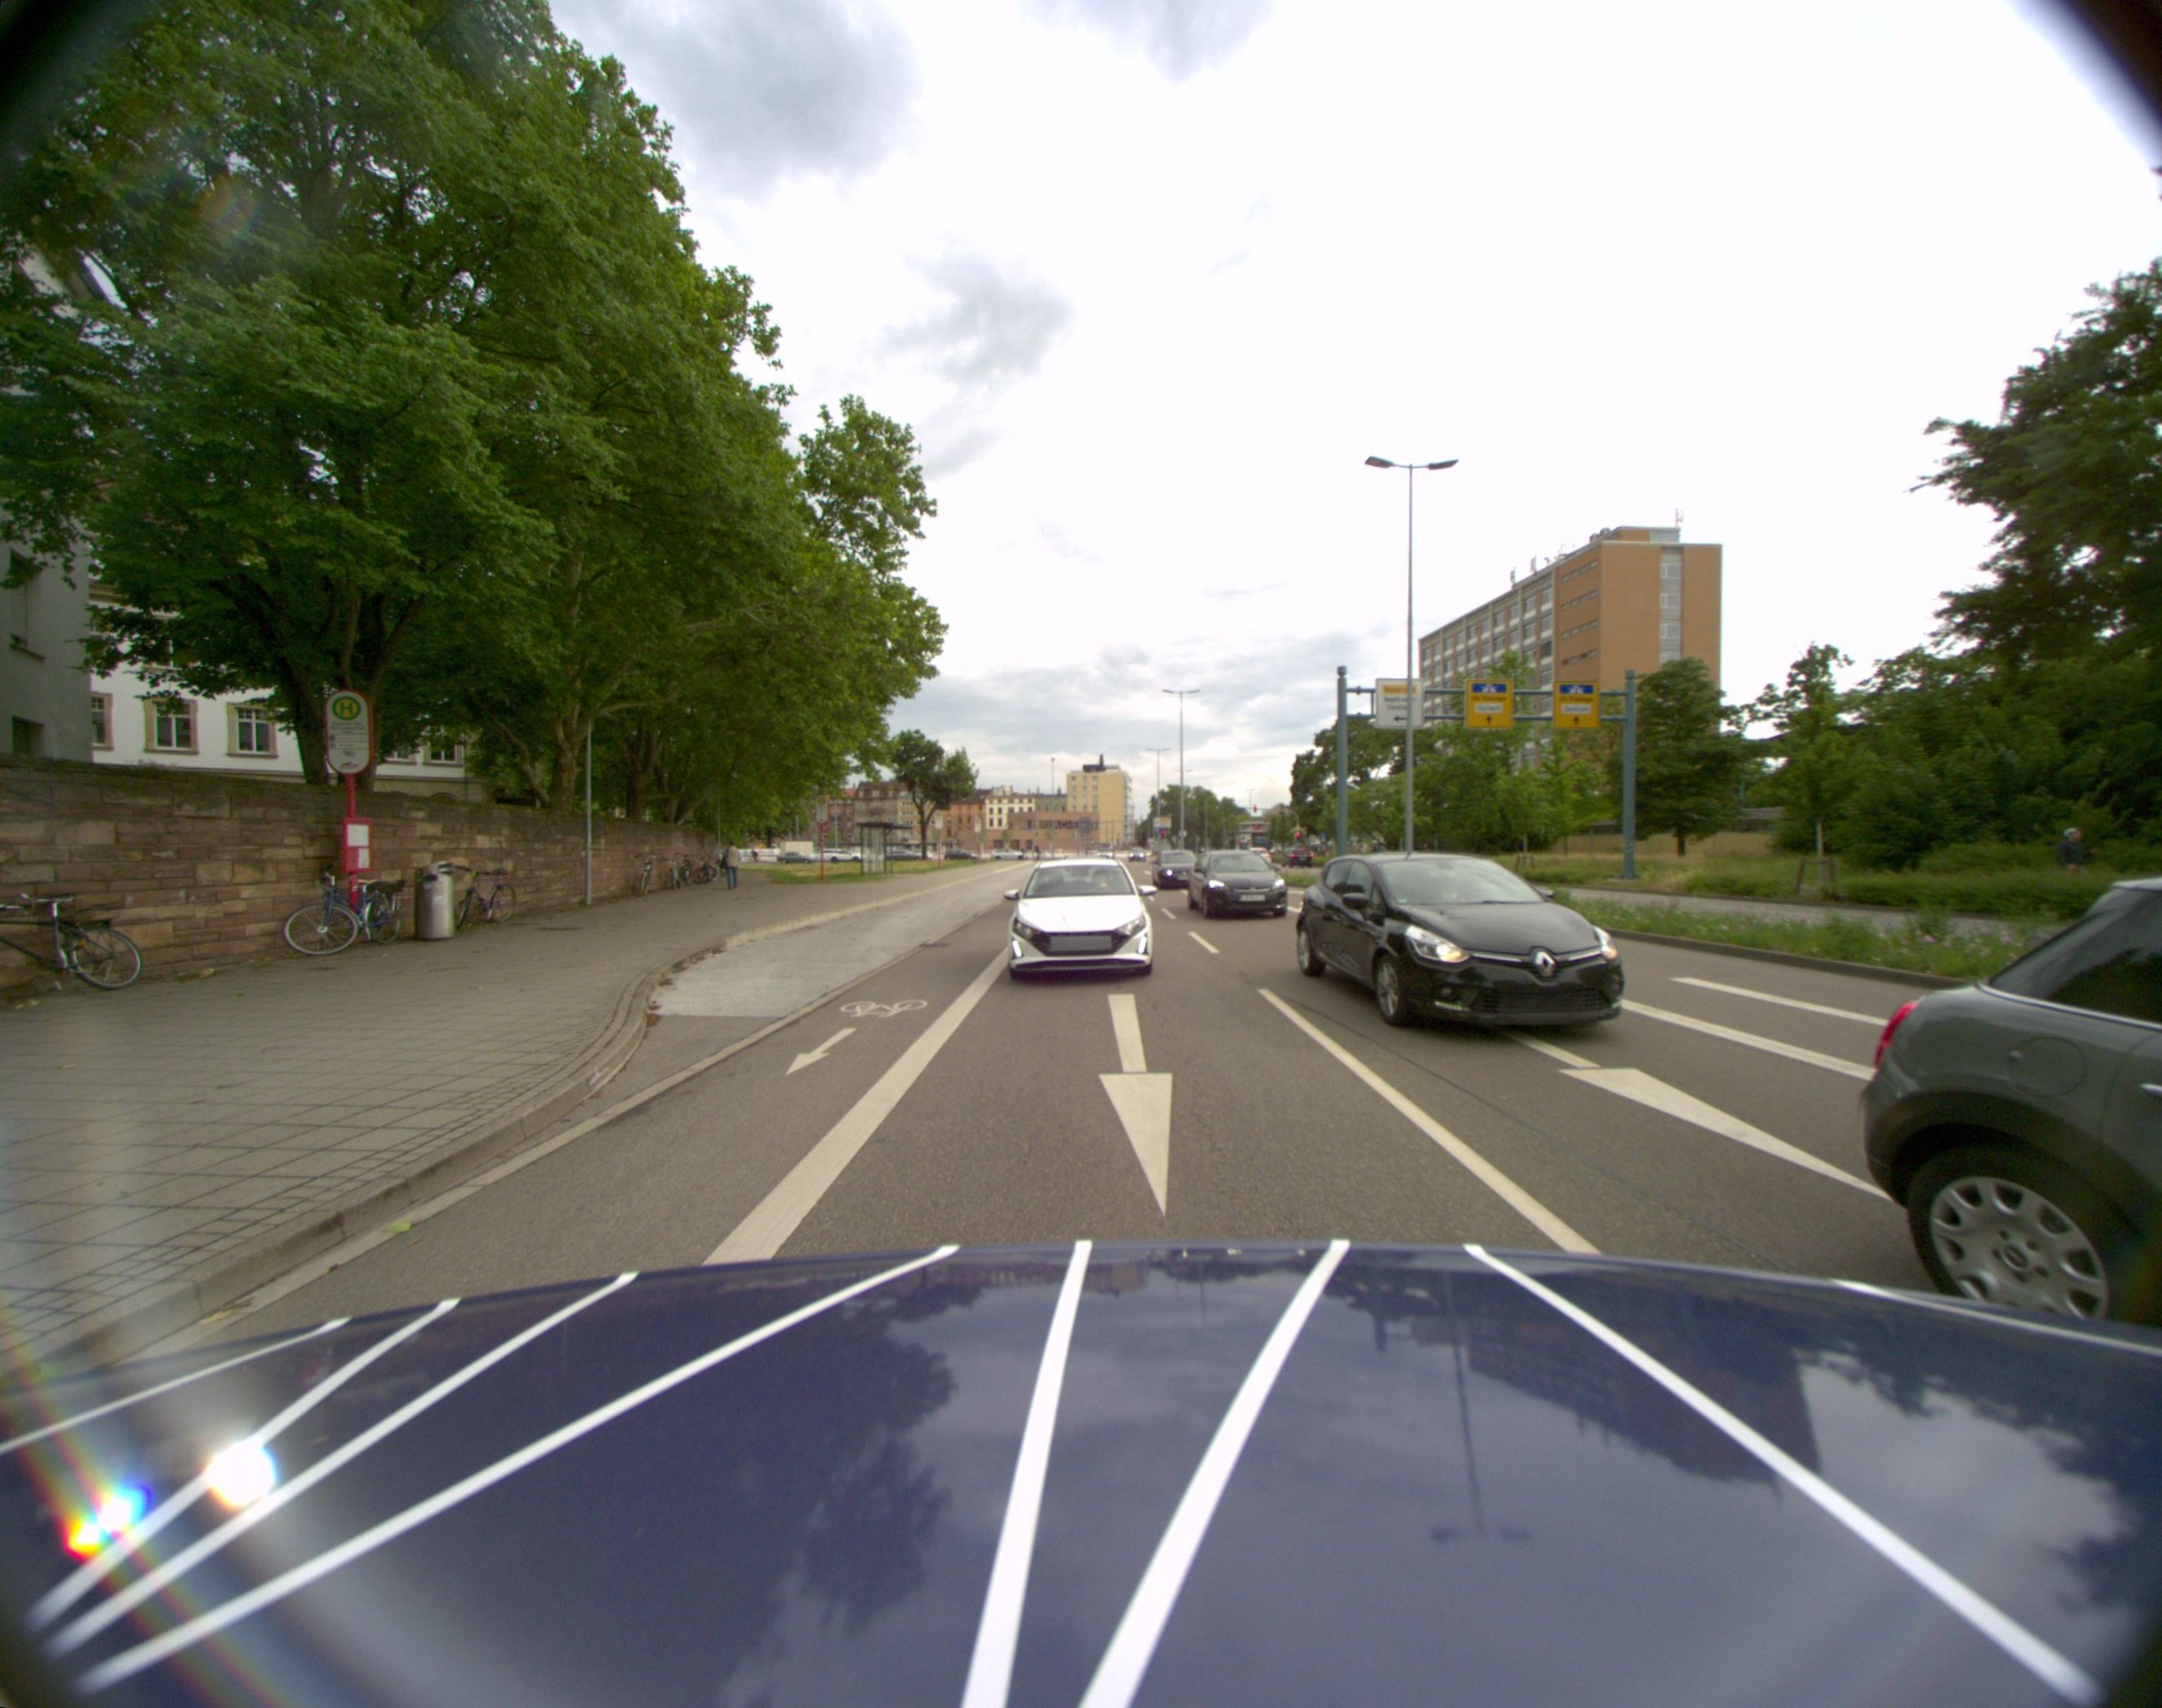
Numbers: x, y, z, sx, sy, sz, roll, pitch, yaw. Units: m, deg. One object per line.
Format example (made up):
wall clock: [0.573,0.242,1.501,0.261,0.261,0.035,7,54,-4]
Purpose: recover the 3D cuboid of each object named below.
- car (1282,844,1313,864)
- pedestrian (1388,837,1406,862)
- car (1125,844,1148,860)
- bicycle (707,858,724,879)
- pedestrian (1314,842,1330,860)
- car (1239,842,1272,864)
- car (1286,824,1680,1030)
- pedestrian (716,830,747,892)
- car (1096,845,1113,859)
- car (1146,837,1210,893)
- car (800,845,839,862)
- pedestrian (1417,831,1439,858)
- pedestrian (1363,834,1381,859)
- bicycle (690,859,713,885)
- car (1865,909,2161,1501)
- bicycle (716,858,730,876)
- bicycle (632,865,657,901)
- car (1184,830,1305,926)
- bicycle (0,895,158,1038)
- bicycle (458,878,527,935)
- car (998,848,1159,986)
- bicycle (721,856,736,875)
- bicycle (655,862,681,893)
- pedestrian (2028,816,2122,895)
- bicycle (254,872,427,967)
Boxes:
car: [18.102,-0.037,63.670,1.854,1.543,4.001,-1,1,7]
pedestrian: [25.620,-0.373,61.613,0.882,2.002,1.220,-2,1,-7]
car: [5.795,-0.214,80.179,1.999,1.536,3.999,-3,1,-1]
bicycle: [-16.881,0.663,35.142,0.569,0.934,1.764,-1,1,-22]
pedestrian: [26.661,-0.347,84.048,1.223,2.002,1.520,-2,1,0]
car: [14.771,-0.112,64.586,1.893,1.763,3.999,-2,1,1]
car: [3.358,0.490,7.341,1.732,1.450,3.999,0,1,1]
pedestrian: [-11.723,0.227,25.485,0.784,2.002,0.887,2,2,-17]
car: [2.482,-0.231,80.816,1.606,1.360,3.578,-3,1,-1]
car: [3.647,0.380,29.300,1.998,2.002,3.999,0,1,1]
car: [-33.221,-0.099,96.565,4.283,2.002,1.999,-2,1,-3]
pedestrian: [25.892,-0.709,56.722,1.137,1.908,1.162,-2,1,4]
pedestrian: [24.058,-0.606,62.823,0.882,2.002,1.220,-2,1,-7]
bicycle: [-15.055,0.700,30.161,0.655,0.934,1.953,-1,1,-21]
car: [3.292,0.856,0.555,1.625,1.310,3.705,0,1,1]
bicycle: [-18.910,0.676,40.122,0.561,0.934,1.351,-1,1,-22]
bicycle: [-12.355,0.815,21.543,0.365,0.934,1.637,-1,1,-21]
car: [3.655,0.468,17.736,1.998,2.002,3.999,0,1,1]
bicycle: [-9.521,1.000,6.989,0.339,1.137,1.675,-3,1,-15]
bicycle: [-10.540,0.918,13.661,0.291,0.880,1.609,0,1,-12]
car: [0.002,0.696,10.548,1.813,1.533,3.999,0,1,1]
bicycle: [-20.611,0.647,44.415,0.693,1.078,1.650,-1,1,-22]
bicycle: [-13.497,0.745,24.853,0.482,0.934,1.895,-1,1,-21]
pedestrian: [21.485,0.027,16.434,0.990,1.616,0.813,-2,1,-2]
bicycle: [-9.916,0.822,10.302,0.478,1.070,2.081,0,1,-6]
